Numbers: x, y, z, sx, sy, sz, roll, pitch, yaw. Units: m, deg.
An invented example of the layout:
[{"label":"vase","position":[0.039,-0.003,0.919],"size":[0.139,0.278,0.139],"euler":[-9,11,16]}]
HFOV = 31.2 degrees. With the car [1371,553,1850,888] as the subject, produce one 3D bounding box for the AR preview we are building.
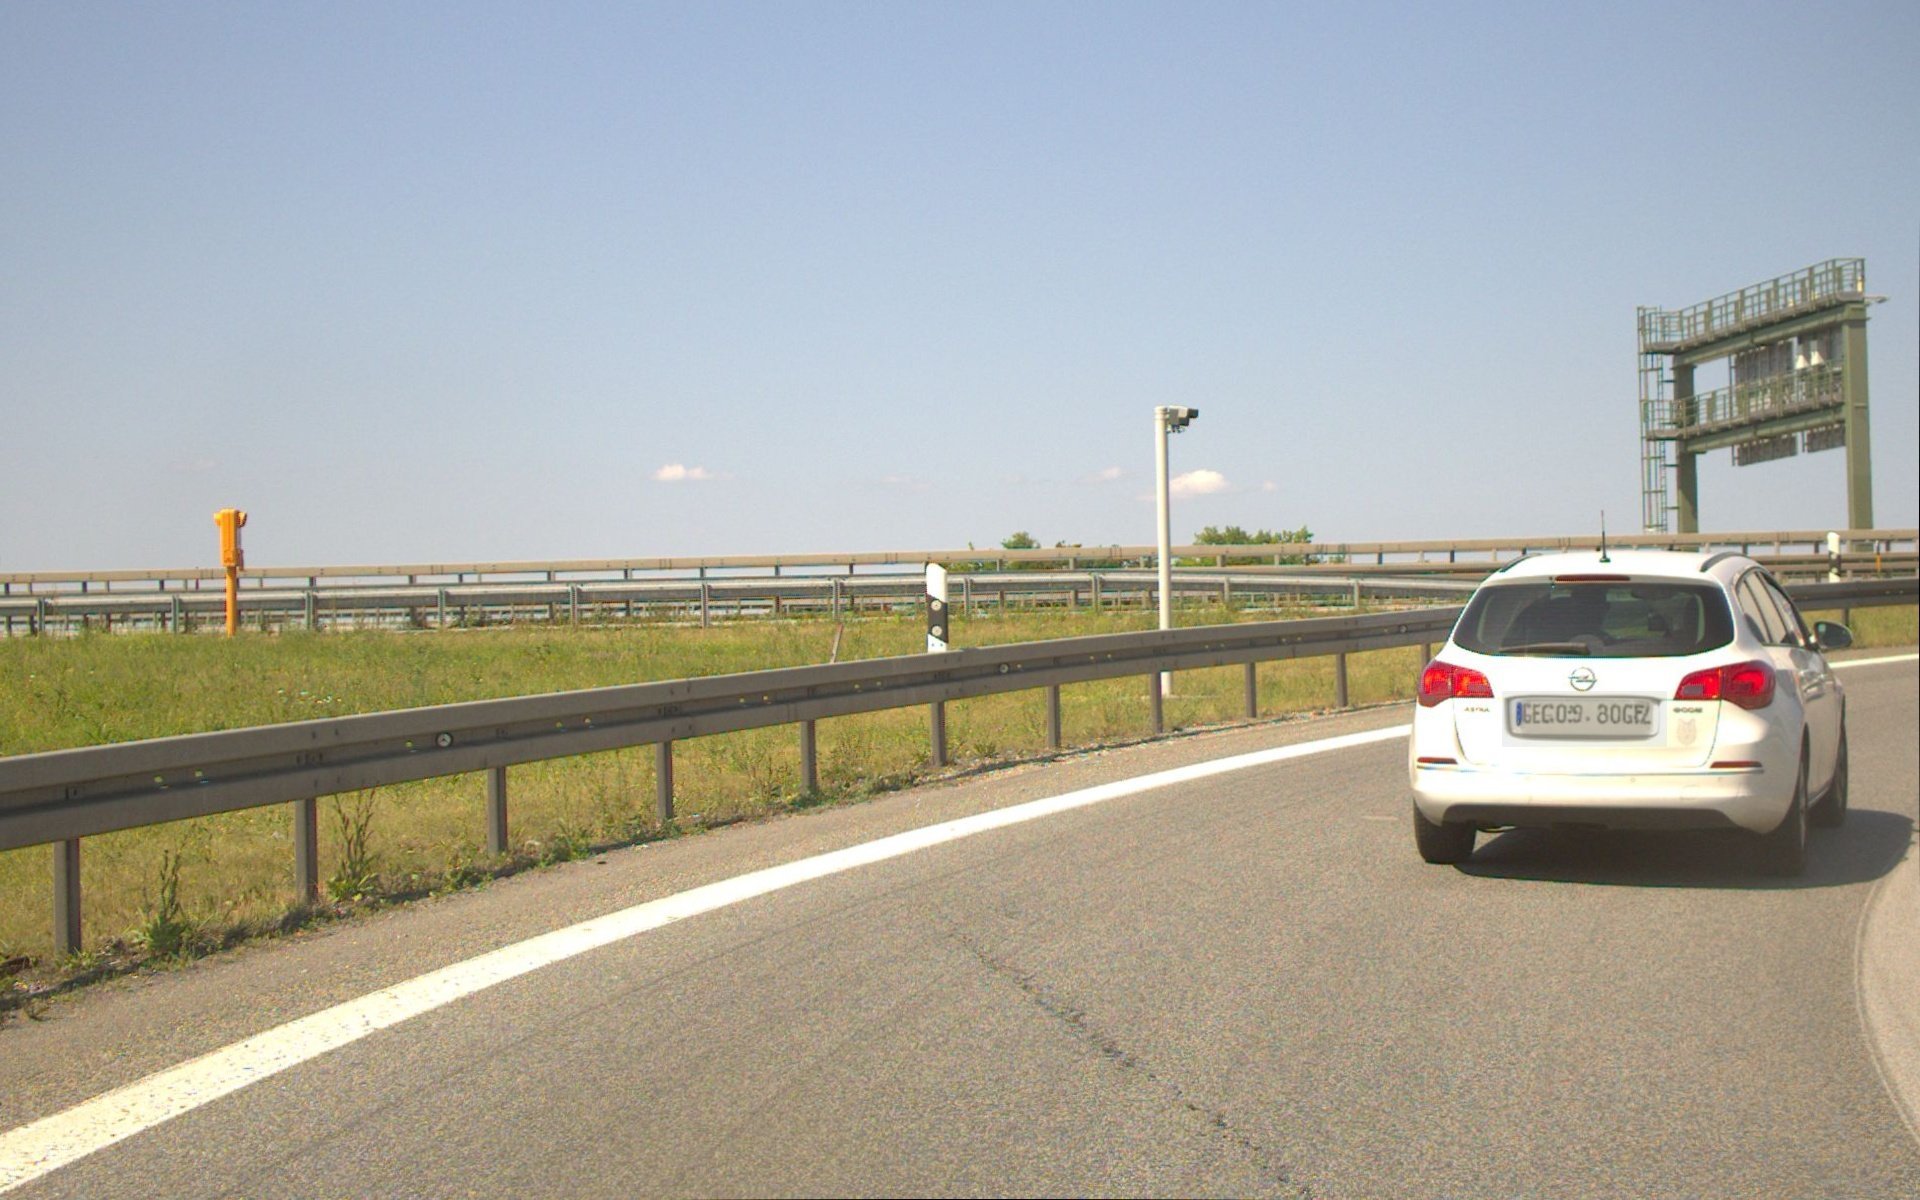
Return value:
[{"label":"car","position":[3.358,0.494,17.076],"size":[1.856,1.438,4.368],"euler":[0,1,17]}]
